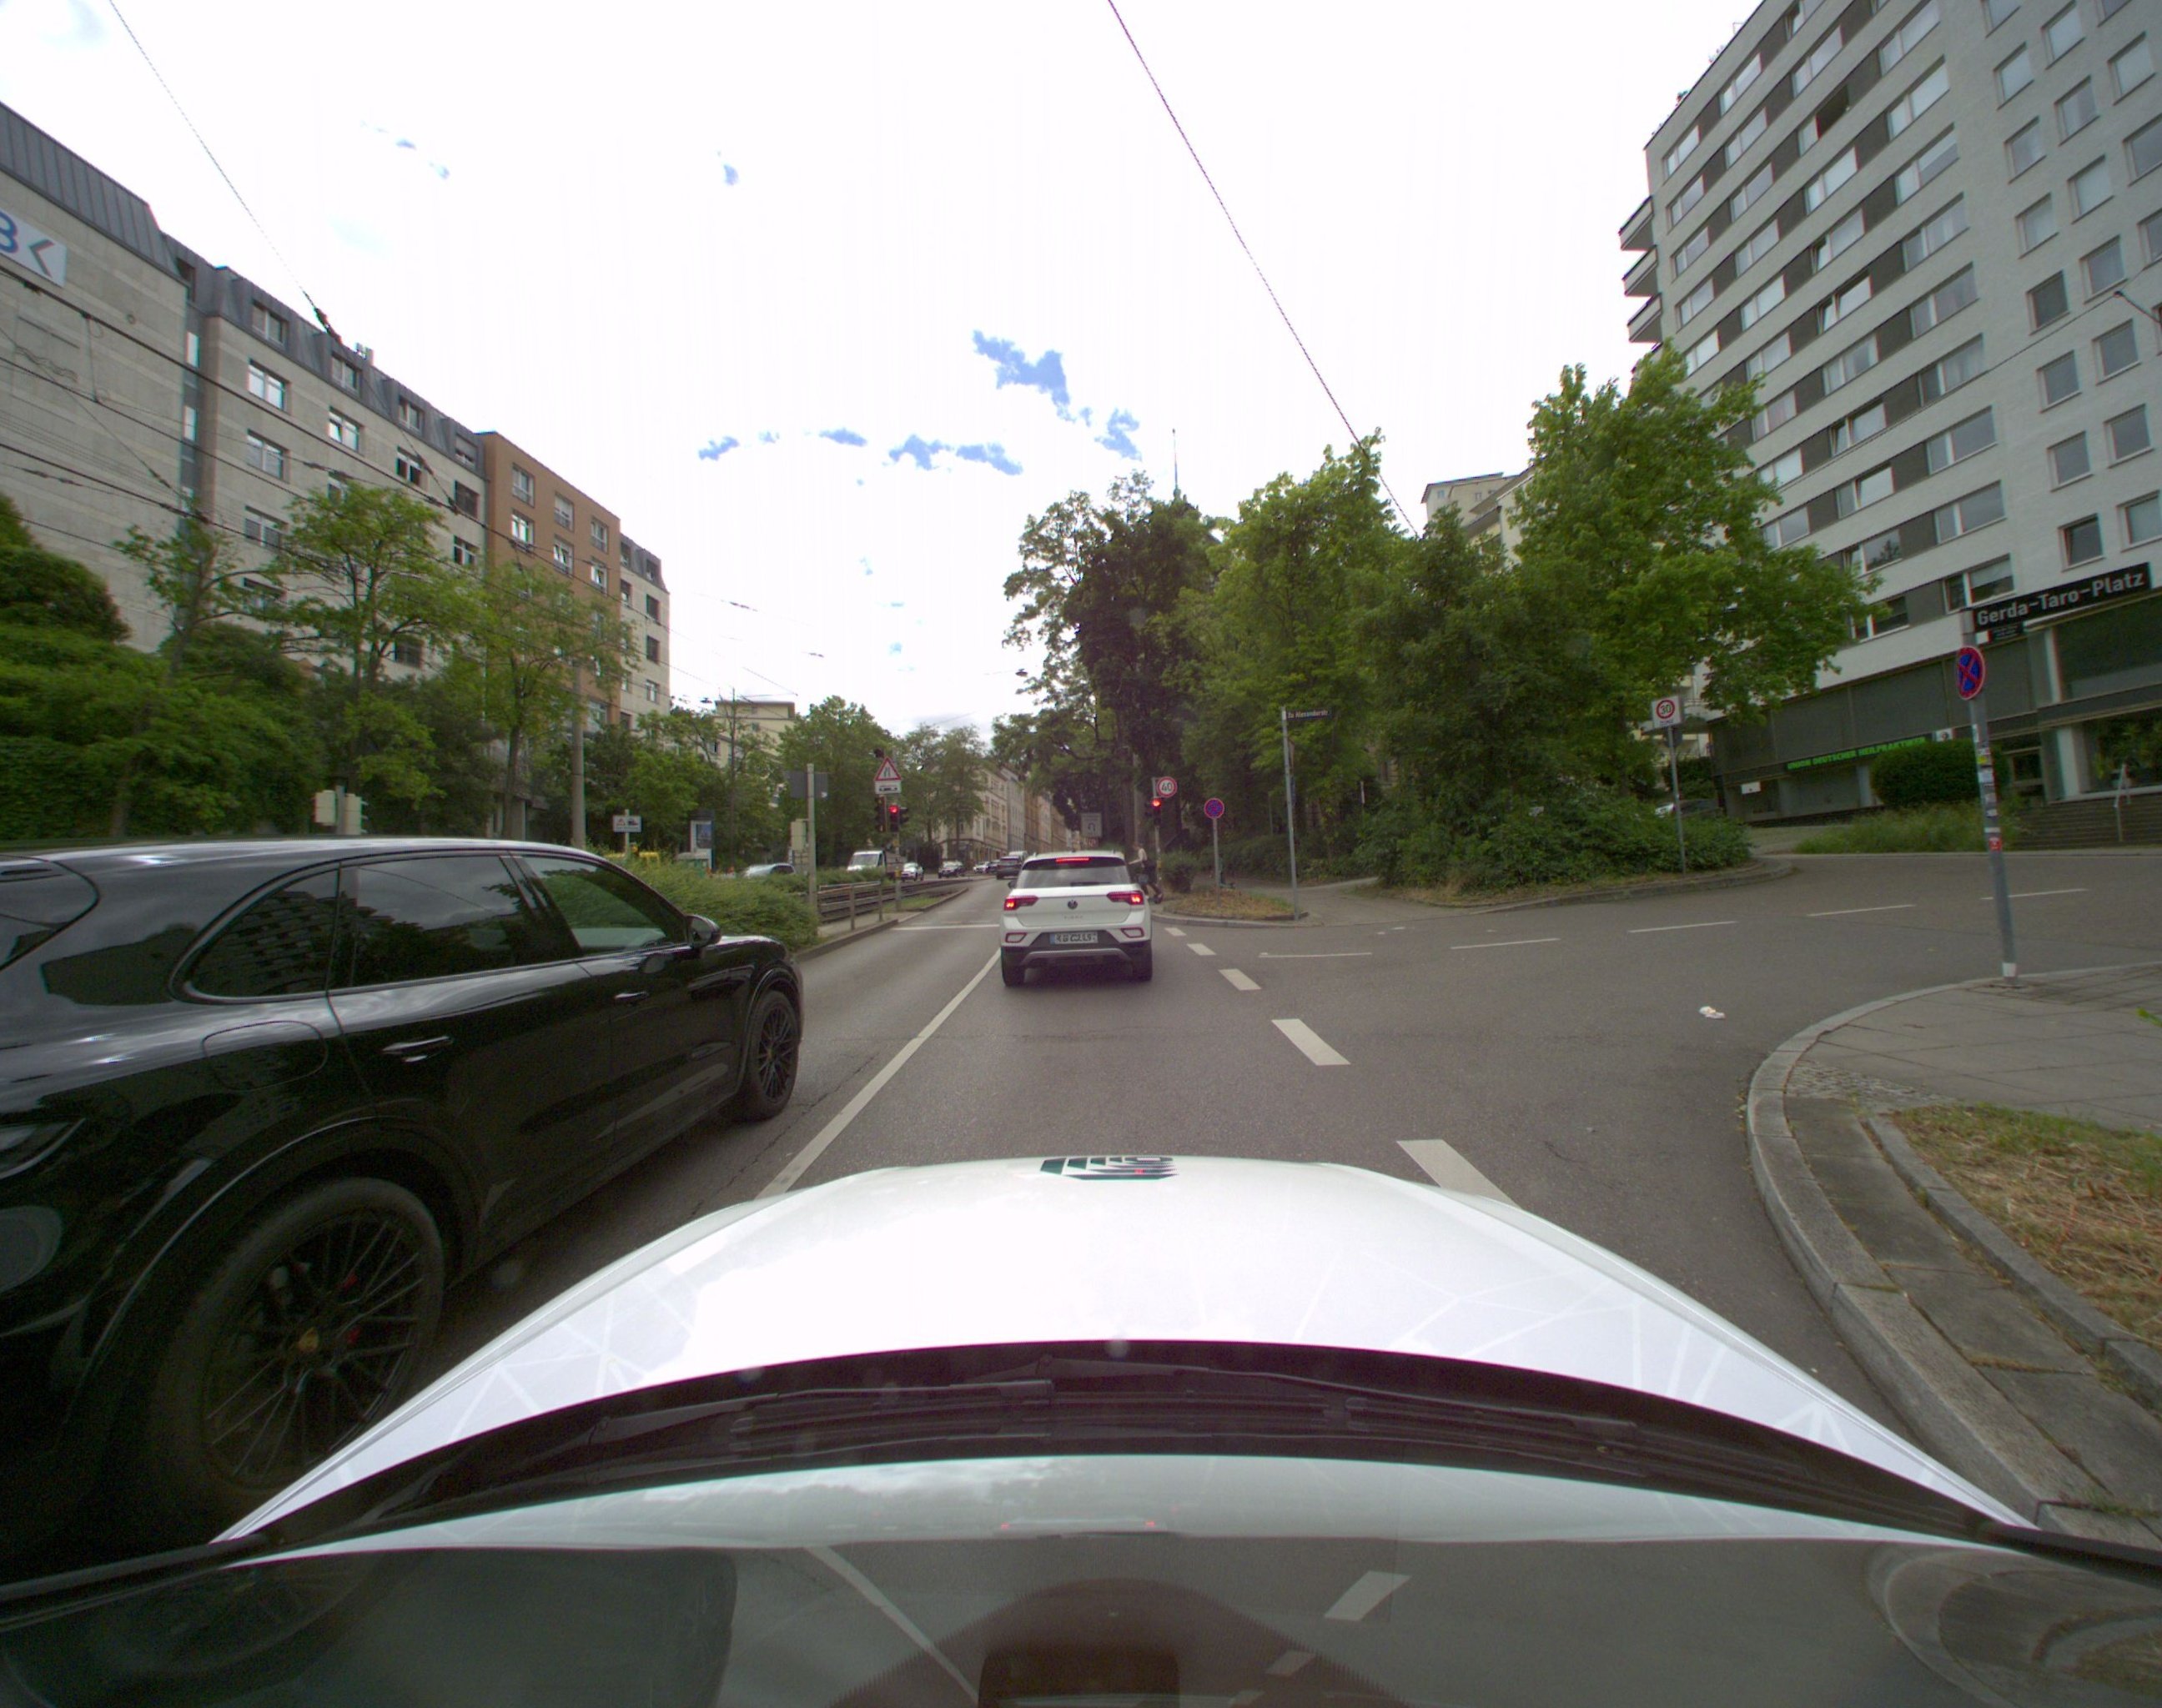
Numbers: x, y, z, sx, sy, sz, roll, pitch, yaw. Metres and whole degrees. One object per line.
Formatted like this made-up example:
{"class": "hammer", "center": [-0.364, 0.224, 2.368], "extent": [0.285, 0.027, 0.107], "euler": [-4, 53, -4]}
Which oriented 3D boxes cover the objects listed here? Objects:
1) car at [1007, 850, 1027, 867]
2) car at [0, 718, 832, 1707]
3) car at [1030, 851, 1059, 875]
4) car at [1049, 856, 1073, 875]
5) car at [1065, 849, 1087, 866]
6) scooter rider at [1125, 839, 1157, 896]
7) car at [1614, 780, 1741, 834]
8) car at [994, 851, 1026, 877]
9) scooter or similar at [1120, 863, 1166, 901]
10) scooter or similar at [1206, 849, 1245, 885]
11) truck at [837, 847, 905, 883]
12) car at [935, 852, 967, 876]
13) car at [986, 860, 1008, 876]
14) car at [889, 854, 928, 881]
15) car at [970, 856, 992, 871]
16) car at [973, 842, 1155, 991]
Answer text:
{"class": "car", "center": [-8.264, 0.566, 105.314], "extent": [1.986, 2.013, 4.001], "euler": [-3, 0, 1]}
{"class": "car", "center": [-2.797, 0.701, 3.320], "extent": [2.021, 1.685, 4.780], "euler": [-2, -2, 0]}
{"class": "car", "center": [-2.499, 0.645, 56.422], "extent": [1.897, 1.574, 3.831], "euler": [0, -3, -1]}
{"class": "car", "center": [-1.804, 1.071, 75.596], "extent": [1.986, 1.623, 4.000], "euler": [0, -3, 1]}
{"class": "car", "center": [-0.646, 0.442, 112.053], "extent": [2.411, 2.169, 6.039], "euler": [-3, 0, 3]}
{"class": "scooter rider", "center": [1.716, 0.370, 23.155], "extent": [0.772, 1.558, 0.534], "euler": [-3, 0, 11]}
{"class": "car", "center": [25.738, -2.020, 35.220], "extent": [4.125, 2.013, 1.996], "euler": [-3, 0, -6]}
{"class": "car", "center": [-5.201, 0.731, 60.268], "extent": [1.833, 1.739, 4.001], "euler": [-3, 0, 1]}
{"class": "scooter or similar", "center": [1.759, 0.792, 23.150], "extent": [1.179, 0.994, 0.533], "euler": [-3, 0, 11]}
{"class": "scooter or similar", "center": [4.615, 0.432, 26.049], "extent": [0.476, 1.099, 1.357], "euler": [-3, 0, -25]}
{"class": "truck", "center": [-13.725, 0.760, 53.735], "extent": [2.410, 2.170, 6.040], "euler": [0, -2, 5]}
{"class": "car", "center": [-11.438, 0.890, 71.803], "extent": [1.986, 2.014, 4.000], "euler": [0, -3, 1]}
{"class": "car", "center": [-9.432, 1.569, 91.517], "extent": [1.986, 1.623, 4.000], "euler": [0, -3, 1]}
{"class": "car", "center": [-13.382, 1.093, 63.312], "extent": [1.986, 2.014, 4.001], "euler": [0, -3, 2]}
{"class": "car", "center": [-11.785, 1.118, 96.031], "extent": [1.986, 1.623, 4.000], "euler": [0, -3, 1]}
{"class": "car", "center": [-0.115, 0.678, 10.864], "extent": [1.931, 1.566, 4.048], "euler": [-2, 0, 2]}
